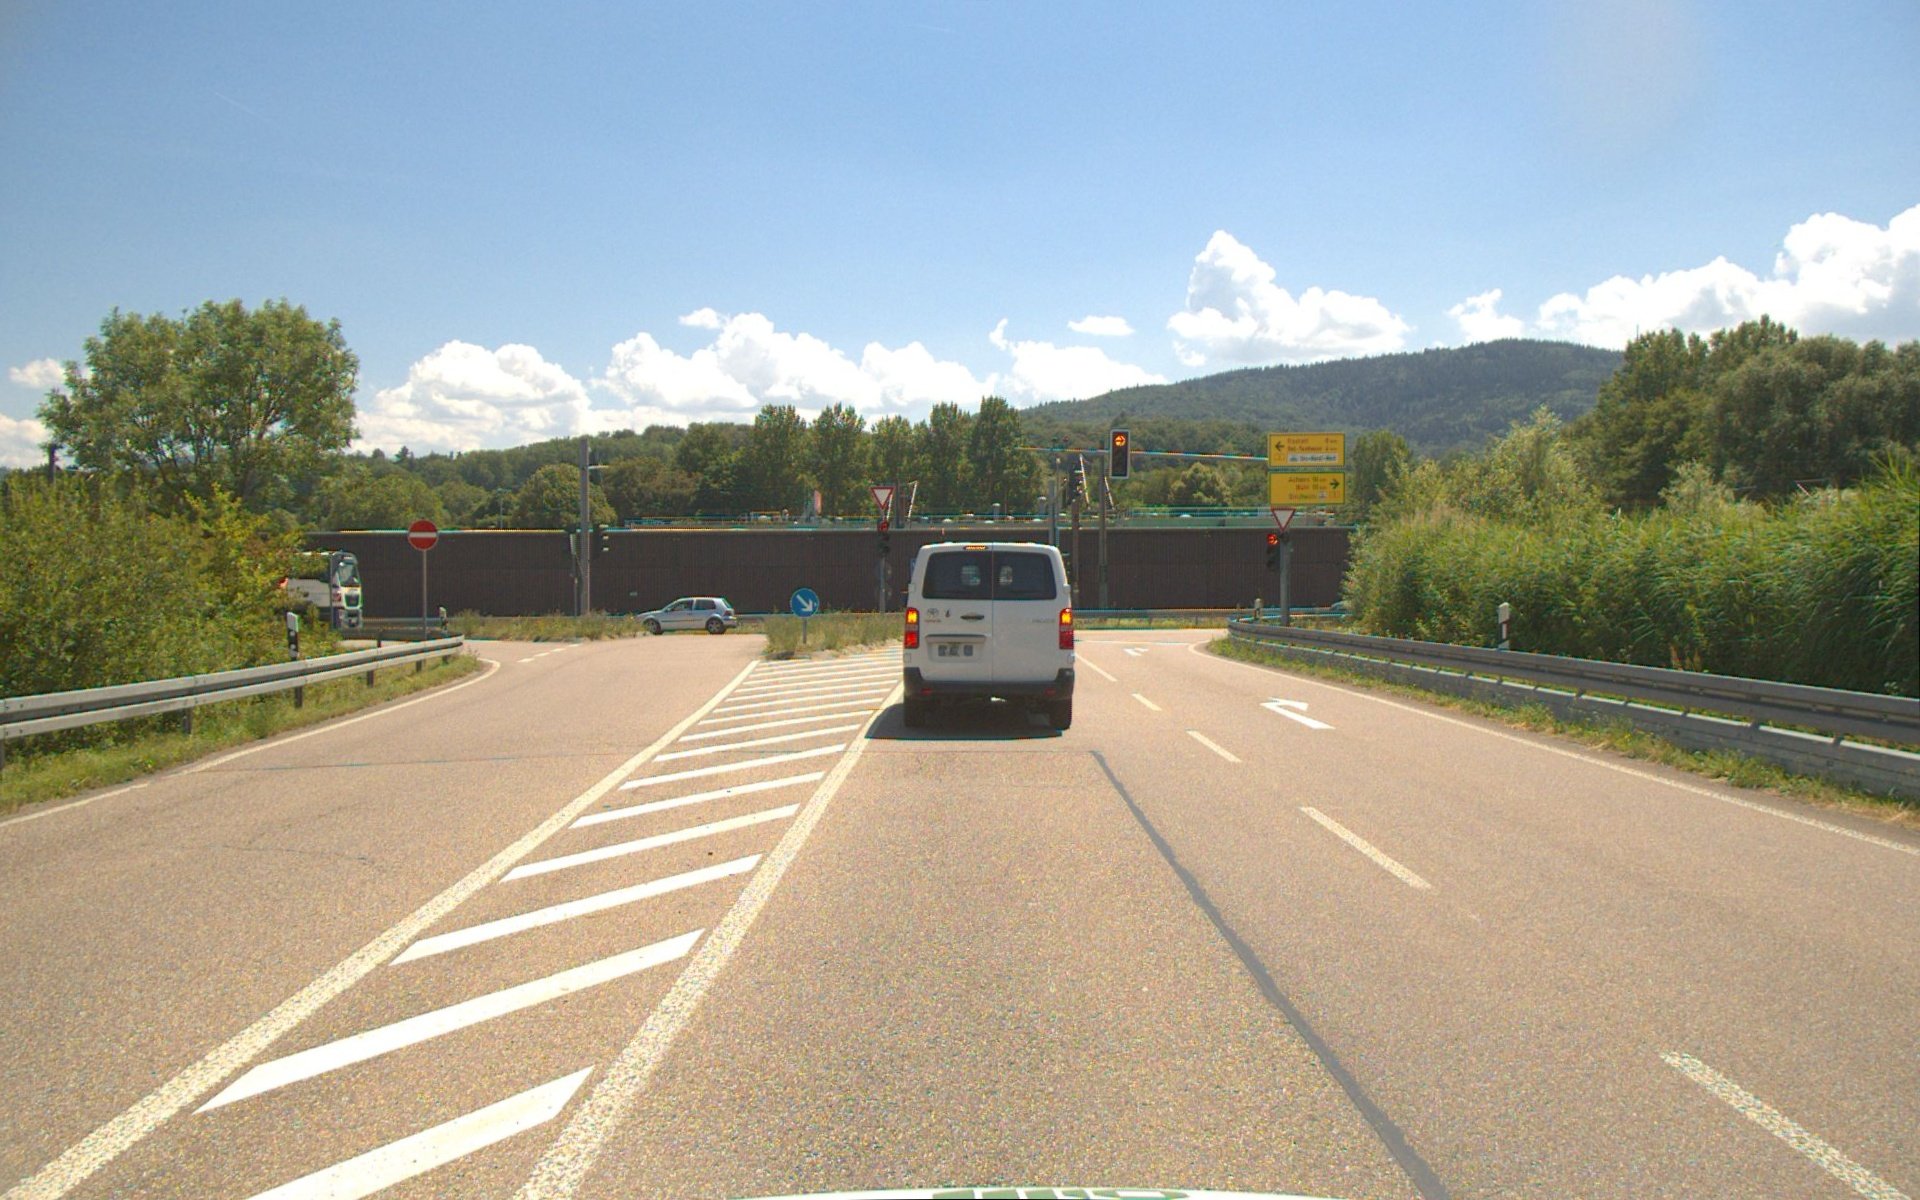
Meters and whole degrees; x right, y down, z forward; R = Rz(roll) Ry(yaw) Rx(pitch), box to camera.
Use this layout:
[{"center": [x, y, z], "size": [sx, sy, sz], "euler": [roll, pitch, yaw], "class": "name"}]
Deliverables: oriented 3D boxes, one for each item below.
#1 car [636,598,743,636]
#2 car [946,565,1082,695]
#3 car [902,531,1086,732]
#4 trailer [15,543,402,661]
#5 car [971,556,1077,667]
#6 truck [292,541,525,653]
[{"center": [-10.663, 0.649, 65.367], "size": [3.905, 1.373, 1.849], "euler": [1, 2, 0], "class": "car"}, {"center": [0.814, 0.440, 26.490], "size": [1.953, 1.844, 4.000], "euler": [-2, 0, 0], "class": "car"}, {"center": [0.344, 0.307, 18.513], "size": [1.832, 1.999, 4.000], "euler": [0, 0, 0], "class": "car"}, {"center": [-25.920, 0.027, 57.425], "size": [12.076, 3.565, 2.231], "euler": [-2, 1, -3], "class": "trailer"}, {"center": [1.239, 0.222, 33.502], "size": [1.953, 2.048, 4.000], "euler": [-2, 0, 0], "class": "car"}, {"center": [-19.159, -0.139, 57.724], "size": [7.256, 3.565, 2.232], "euler": [-2, 1, -2], "class": "truck"}]
